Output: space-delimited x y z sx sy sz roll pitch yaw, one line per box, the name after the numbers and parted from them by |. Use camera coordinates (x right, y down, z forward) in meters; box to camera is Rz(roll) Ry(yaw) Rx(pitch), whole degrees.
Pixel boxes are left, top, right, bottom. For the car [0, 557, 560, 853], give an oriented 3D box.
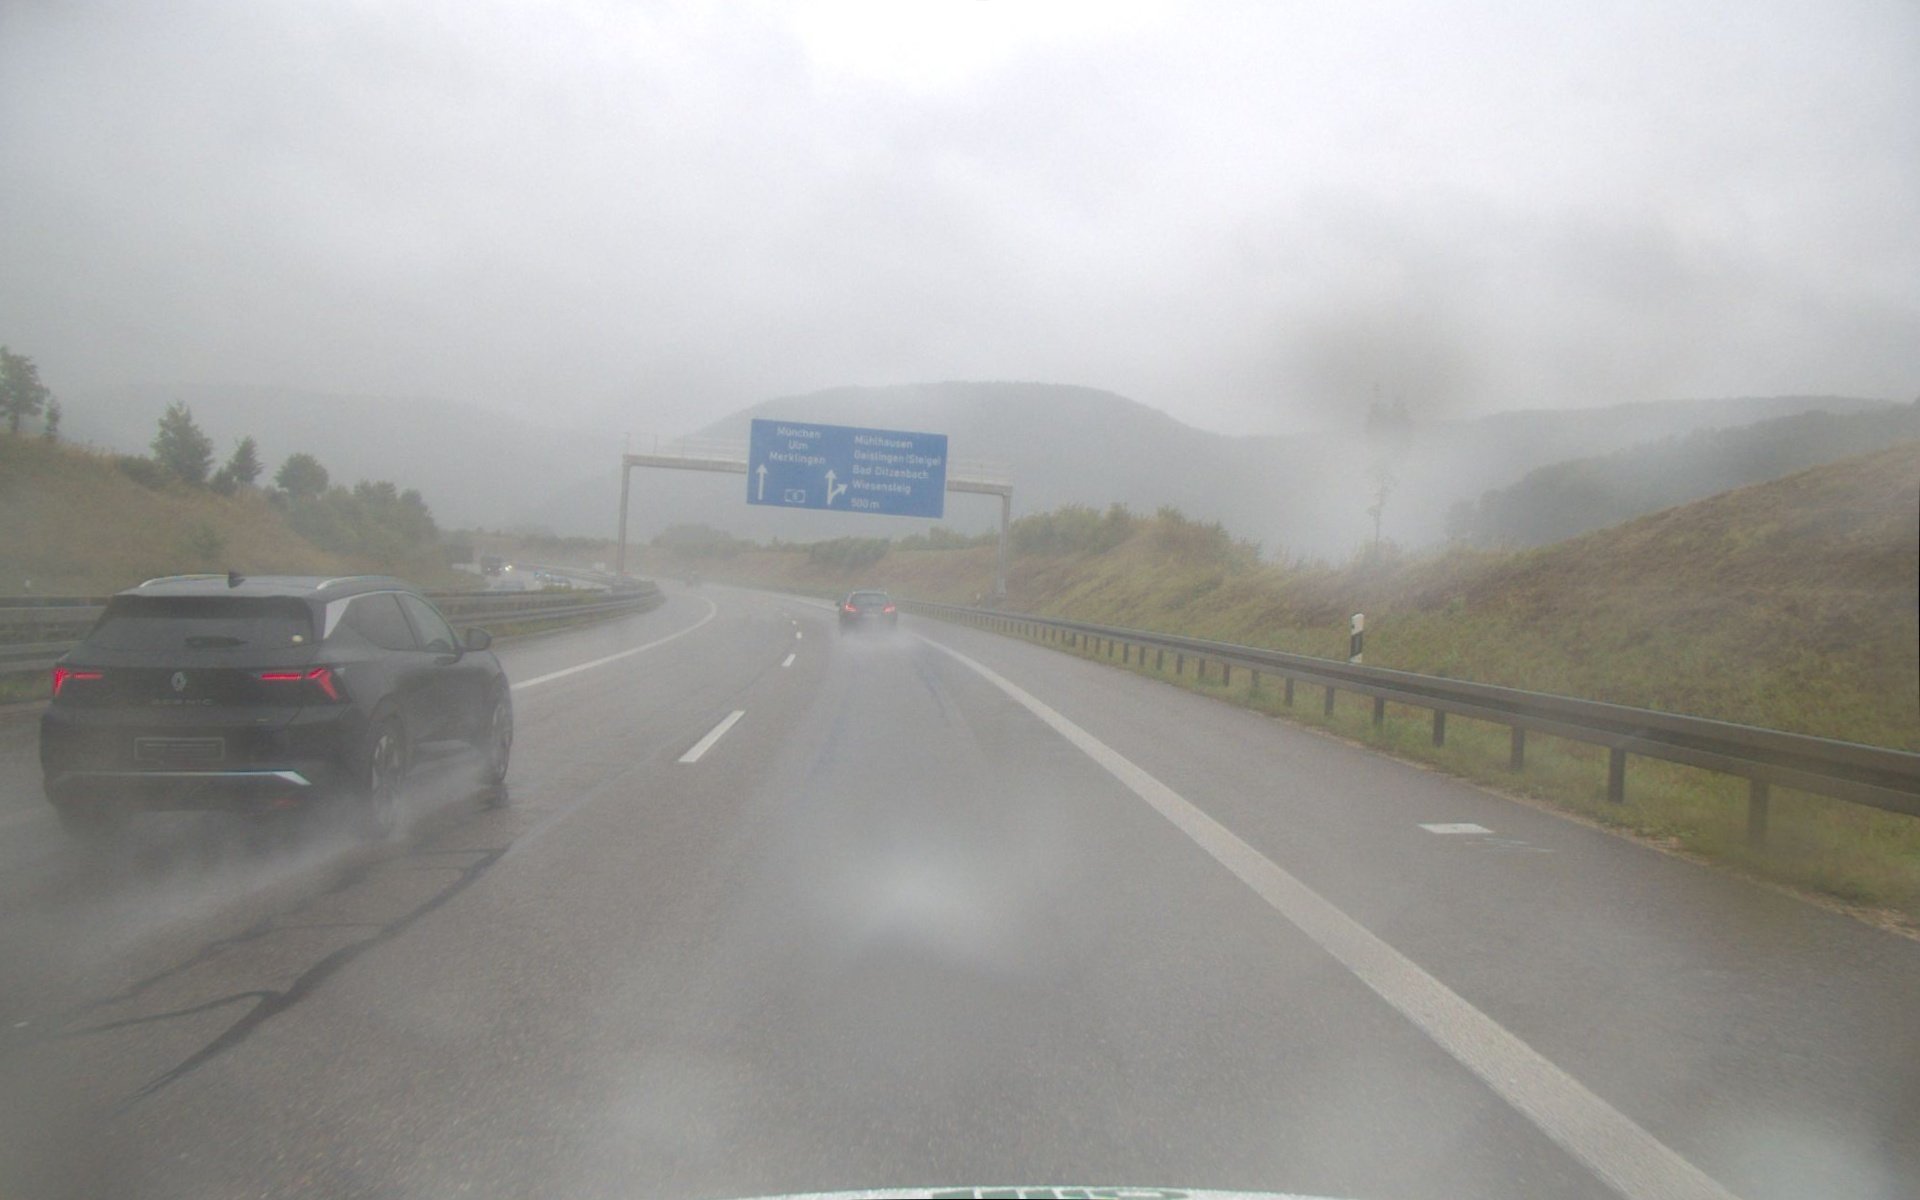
-4.275 0.569 11.303 2.360 1.542 4.777 2 0 -6 | car

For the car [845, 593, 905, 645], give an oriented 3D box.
-2.673 0.551 51.412 1.646 1.498 3.810 2 0 -5 | car
